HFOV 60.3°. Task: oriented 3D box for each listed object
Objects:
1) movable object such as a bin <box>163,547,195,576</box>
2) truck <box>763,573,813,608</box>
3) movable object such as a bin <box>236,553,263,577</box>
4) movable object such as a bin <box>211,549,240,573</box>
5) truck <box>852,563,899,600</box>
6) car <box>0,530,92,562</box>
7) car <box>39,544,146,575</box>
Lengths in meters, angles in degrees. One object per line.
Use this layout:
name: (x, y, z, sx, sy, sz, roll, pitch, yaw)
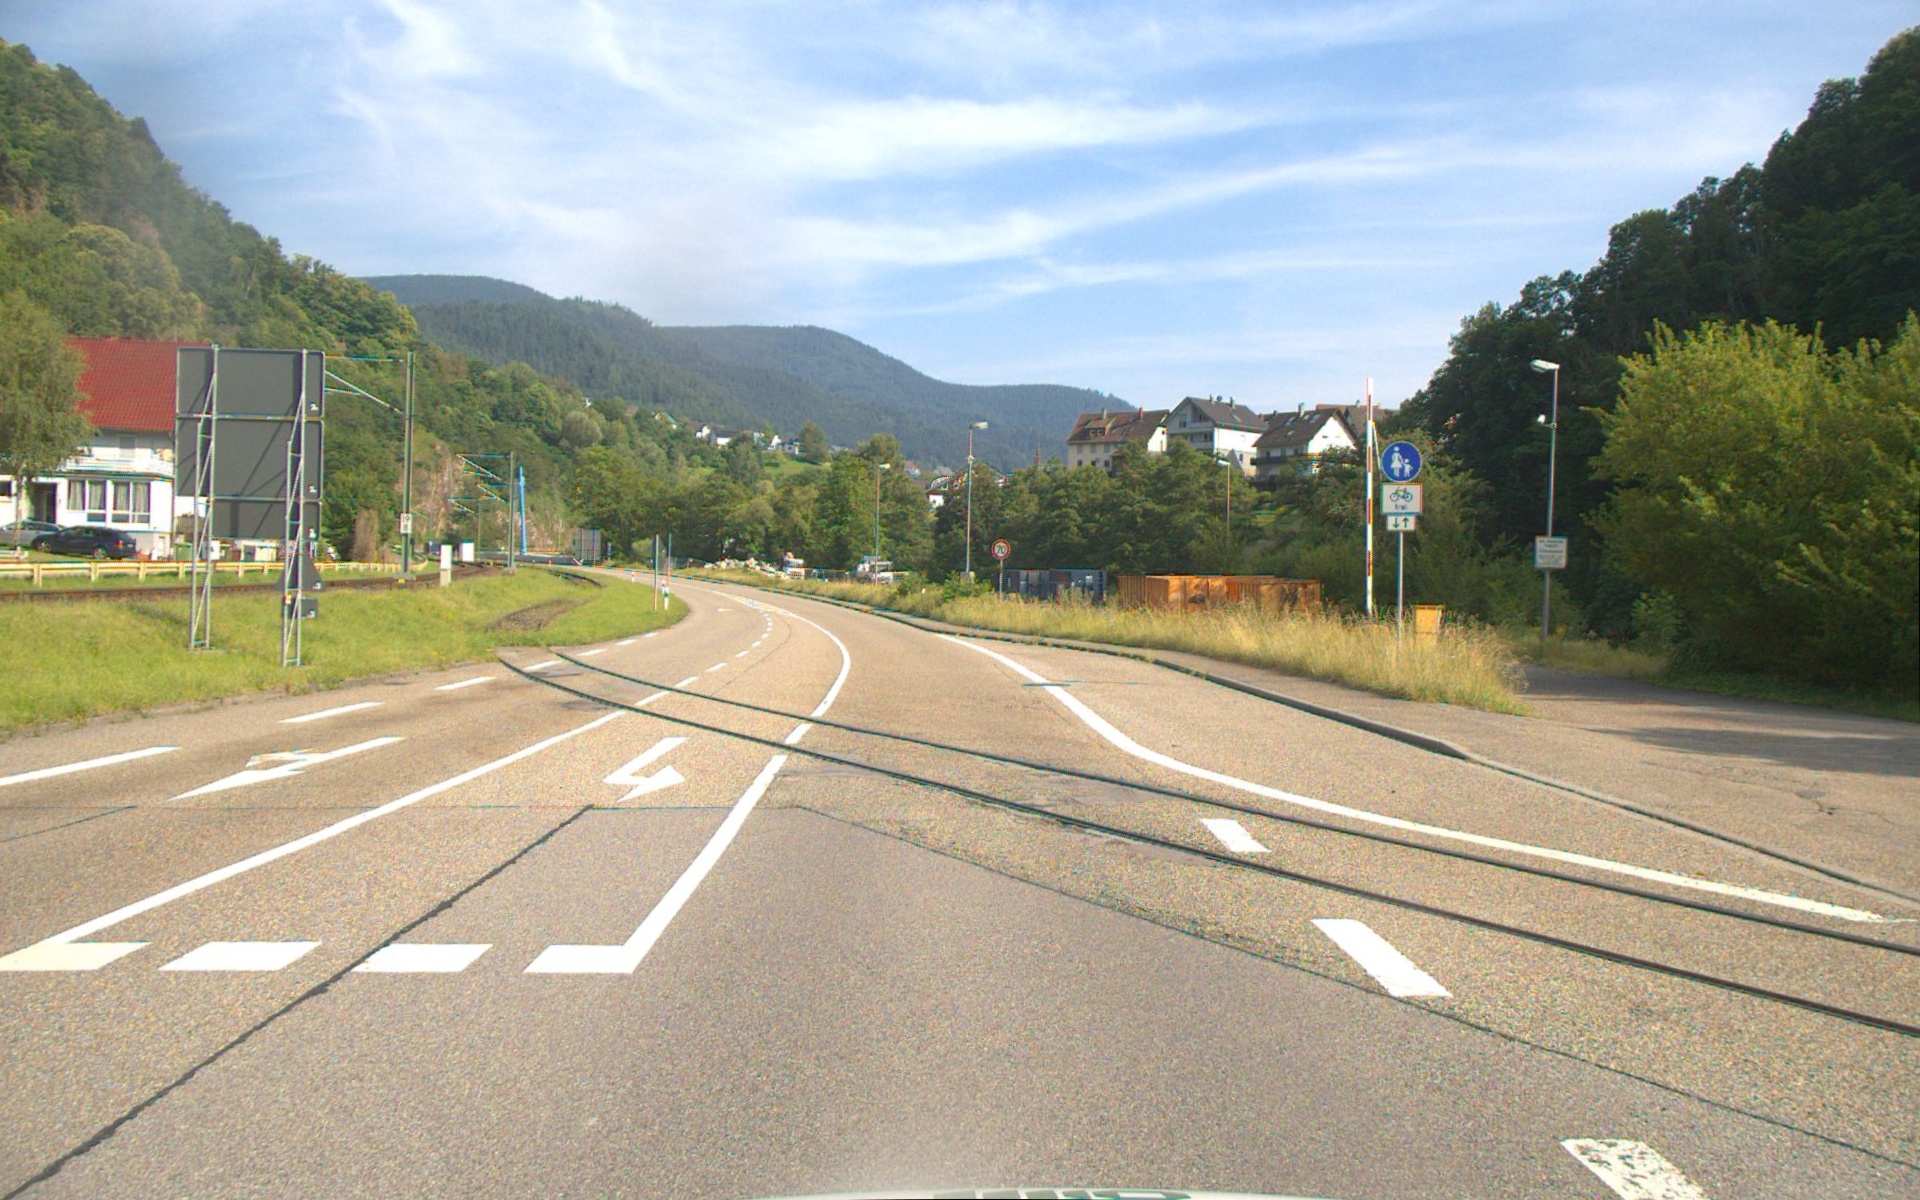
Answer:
movable object such as a bin: (-34.563, -1.706, 73.216, 1.121, 1.212, 1.088, 2, 0, -17)
truck: (-20.404, -1.167, 195.455, 3.064, 3.848, 8.576, 2, 0, -25)
movable object such as a bin: (-36.816, -1.800, 85.722, 1.070, 1.212, 1.140, 2, 0, -12)
movable object such as a bin: (-37.910, -2.004, 85.384, 1.070, 1.212, 1.140, 2, 0, -12)
truck: (-9.254, -1.994, 179.516, 3.053, 3.848, 8.605, 2, 0, -16)
car: (-44.112, -2.583, 79.183, 4.177, 1.353, 1.750, 2, 0, -11)
car: (-40.317, -1.878, 76.944, 4.020, 1.293, 1.732, 2, 0, -10)
